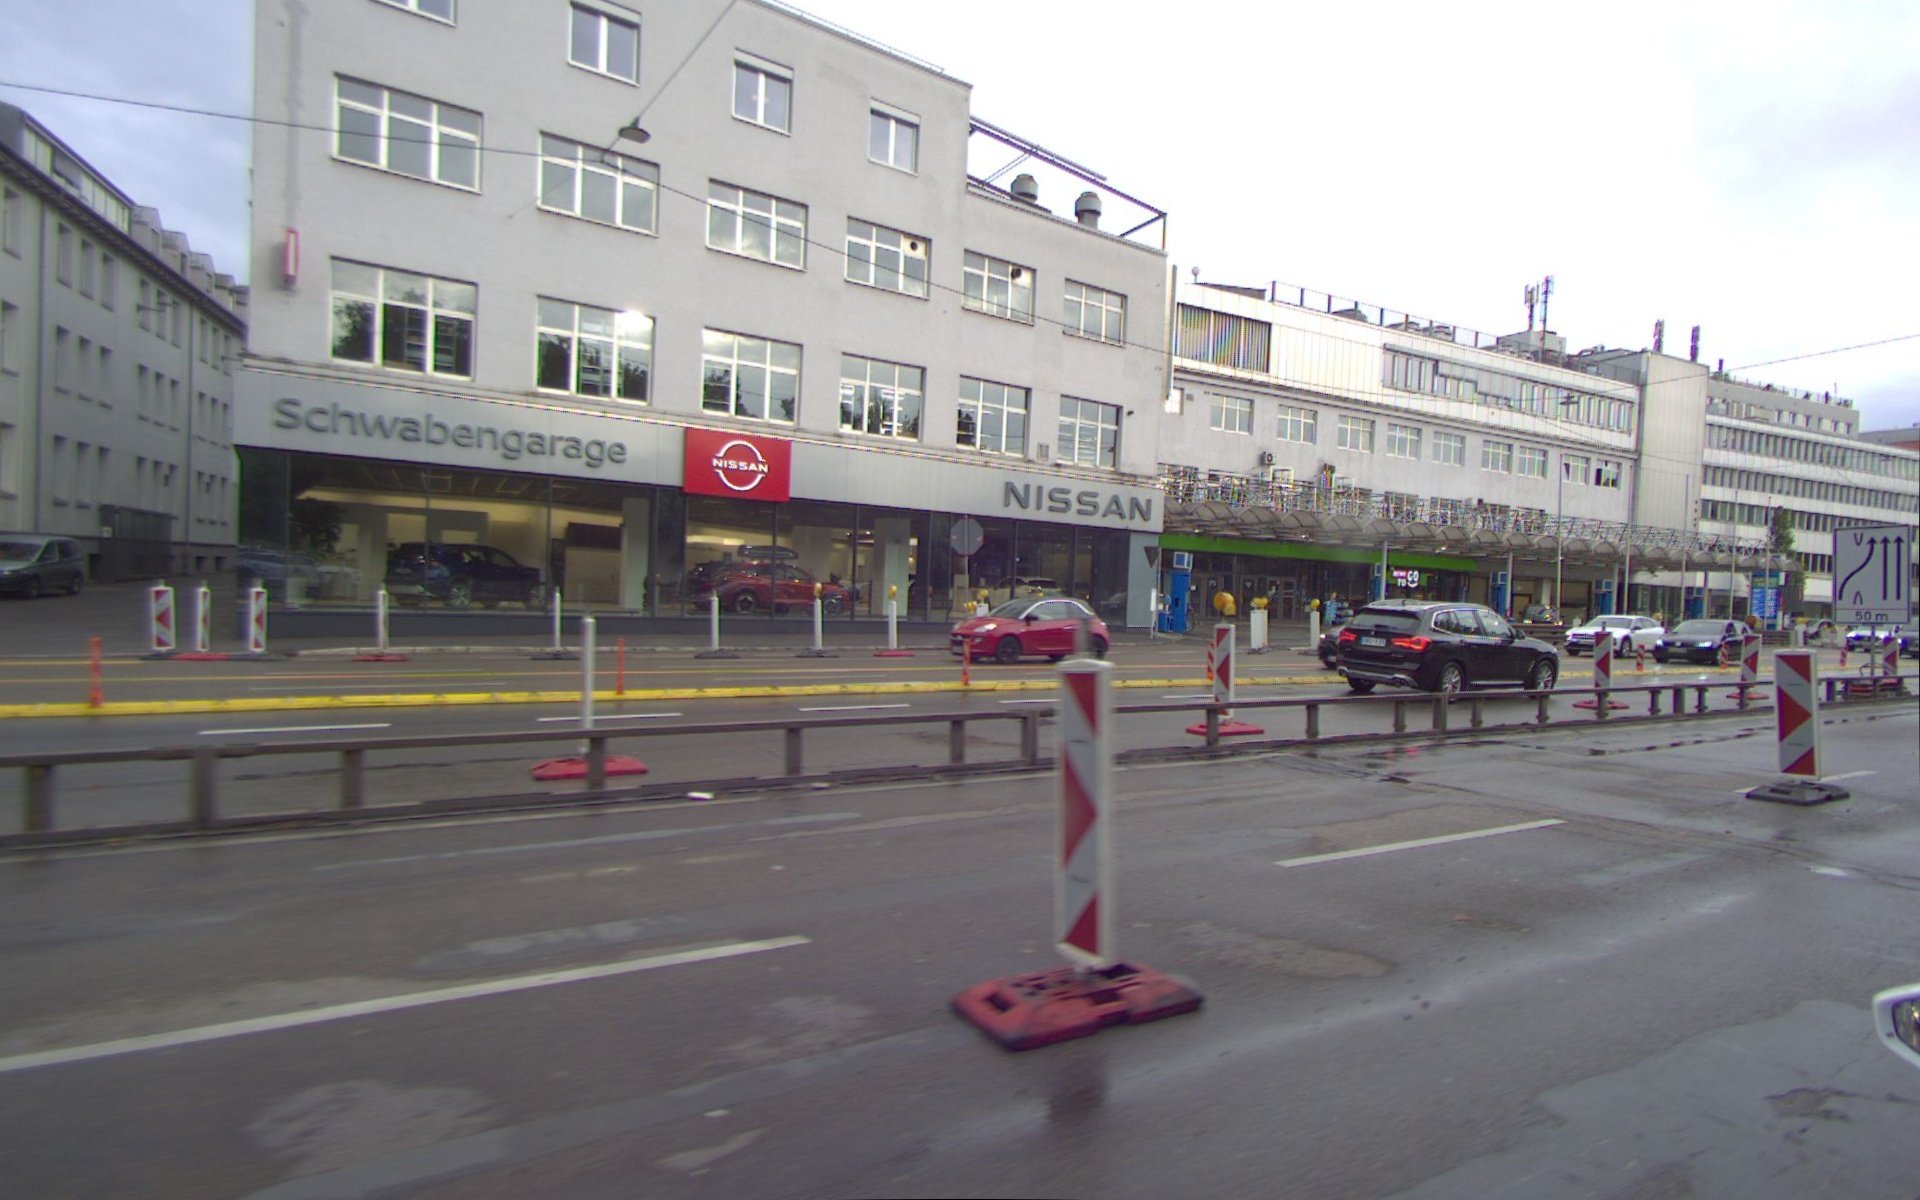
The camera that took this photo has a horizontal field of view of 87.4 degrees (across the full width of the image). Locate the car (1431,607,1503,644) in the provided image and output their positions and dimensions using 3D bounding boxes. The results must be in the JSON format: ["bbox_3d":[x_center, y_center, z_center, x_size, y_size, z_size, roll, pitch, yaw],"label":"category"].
[{"bbox_3d":[26.331,1.309,52.317,1.927,1.794,4.448,2,0,7],"label":"car"}]

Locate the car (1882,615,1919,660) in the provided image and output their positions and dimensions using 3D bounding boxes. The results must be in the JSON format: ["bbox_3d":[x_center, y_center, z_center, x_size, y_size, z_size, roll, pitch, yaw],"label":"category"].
[{"bbox_3d":[43.989,1.721,45.562,5.176,1.962,1.981,2,0,-34],"label":"car"}]

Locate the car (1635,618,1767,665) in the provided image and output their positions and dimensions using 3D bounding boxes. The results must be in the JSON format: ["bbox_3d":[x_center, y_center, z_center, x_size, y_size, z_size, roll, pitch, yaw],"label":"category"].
[{"bbox_3d":[24.183,1.348,32.734,4.757,1.369,1.788,2,0,-31],"label":"car"}]

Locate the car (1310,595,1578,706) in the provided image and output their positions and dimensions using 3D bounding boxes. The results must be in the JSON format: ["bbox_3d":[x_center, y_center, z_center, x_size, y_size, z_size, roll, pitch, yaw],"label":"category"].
[{"bbox_3d":[8.641,0.824,17.856,4.614,1.619,1.938,1,4,-30],"label":"car"}]

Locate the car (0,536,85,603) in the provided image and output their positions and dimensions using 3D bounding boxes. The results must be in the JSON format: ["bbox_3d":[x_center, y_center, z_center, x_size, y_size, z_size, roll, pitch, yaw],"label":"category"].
[{"bbox_3d":[-28.143,-0.913,30.128,1.765,1.855,3.939,2,0,-25],"label":"car"}]

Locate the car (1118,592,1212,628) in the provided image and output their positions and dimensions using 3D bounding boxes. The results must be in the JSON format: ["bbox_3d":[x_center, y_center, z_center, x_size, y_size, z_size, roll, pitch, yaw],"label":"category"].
[{"bbox_3d":[9.145,0.450,44.787,3.924,1.502,1.803,2,0,-32],"label":"car"}]

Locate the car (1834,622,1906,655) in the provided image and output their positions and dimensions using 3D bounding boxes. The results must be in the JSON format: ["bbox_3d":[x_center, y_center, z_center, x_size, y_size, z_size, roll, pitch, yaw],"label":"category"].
[{"bbox_3d":[47.347,2.004,52.226,4.219,1.606,1.737,2,0,-33],"label":"car"}]

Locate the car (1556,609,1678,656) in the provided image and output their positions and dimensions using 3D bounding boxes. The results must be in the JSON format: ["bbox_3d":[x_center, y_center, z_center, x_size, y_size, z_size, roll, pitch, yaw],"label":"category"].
[{"bbox_3d":[23.290,1.159,35.565,4.468,1.528,1.775,2,0,-30],"label":"car"}]

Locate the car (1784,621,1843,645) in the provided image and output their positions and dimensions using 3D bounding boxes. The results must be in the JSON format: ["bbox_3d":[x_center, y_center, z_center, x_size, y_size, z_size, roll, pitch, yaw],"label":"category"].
[{"bbox_3d":[71.035,2.757,83.568,4.663,1.802,1.844,2,0,-24],"label":"car"}]

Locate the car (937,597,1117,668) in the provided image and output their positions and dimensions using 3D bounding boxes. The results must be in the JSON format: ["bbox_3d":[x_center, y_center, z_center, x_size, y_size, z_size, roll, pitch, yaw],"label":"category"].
[{"bbox_3d":[1.506,0.728,22.388,3.665,1.433,1.726,2,0,-30],"label":"car"}]
